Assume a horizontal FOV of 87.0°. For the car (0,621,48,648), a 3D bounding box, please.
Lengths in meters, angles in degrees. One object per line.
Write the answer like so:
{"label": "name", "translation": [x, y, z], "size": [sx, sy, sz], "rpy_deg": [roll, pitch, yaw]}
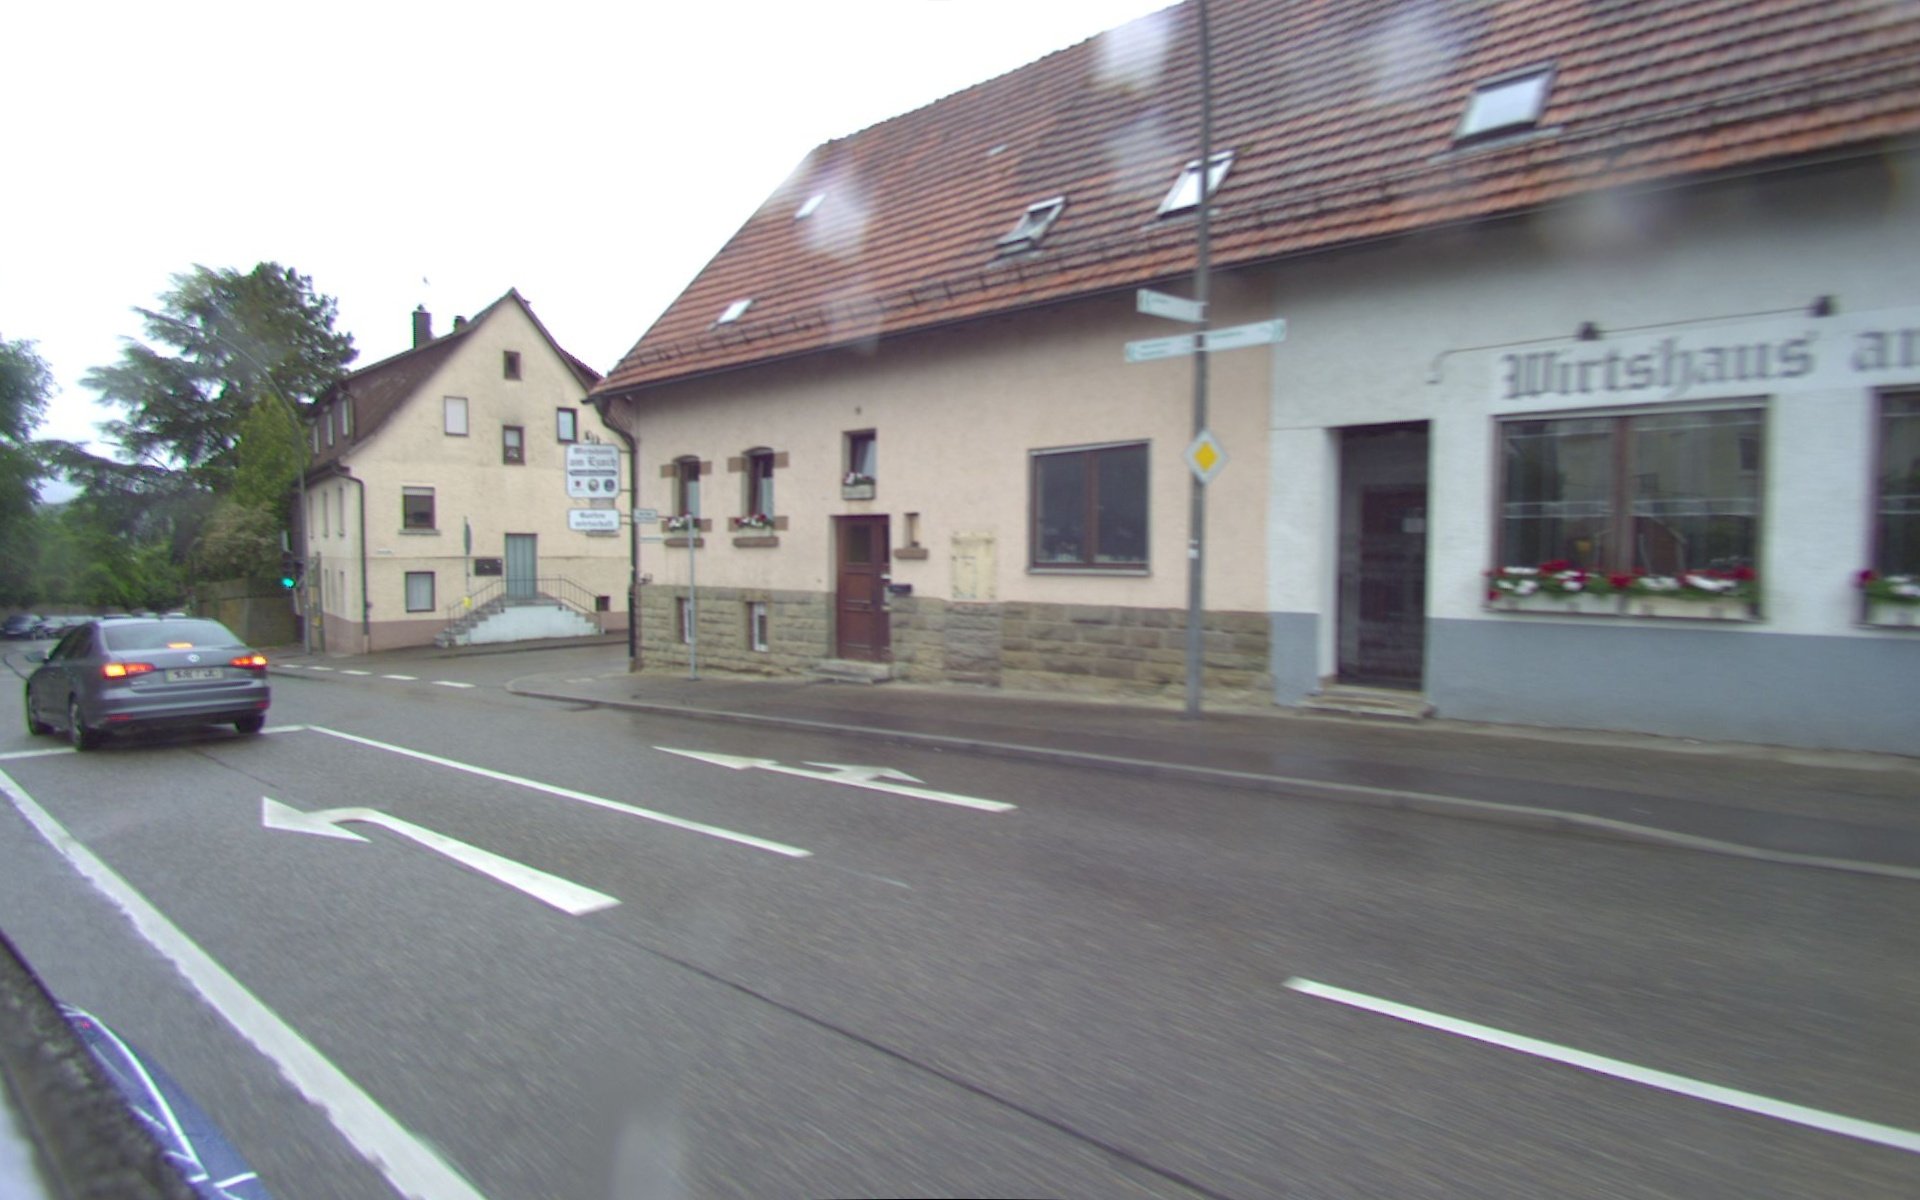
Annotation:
{"label": "car", "translation": [-57.259, 2.095, 61.570], "size": [1.765, 1.544, 3.812], "rpy_deg": [0, -1, -29]}

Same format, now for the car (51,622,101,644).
{"label": "car", "translation": [-62.627, 2.323, 71.757], "size": [1.735, 1.430, 4.166], "rpy_deg": [0, -1, -28]}

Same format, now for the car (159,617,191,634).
{"label": "car", "translation": [-77.593, 2.467, 100.071], "size": [1.803, 1.642, 4.167], "rpy_deg": [0, -1, -27]}

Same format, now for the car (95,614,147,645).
{"label": "car", "translation": [-49.405, 1.701, 59.663], "size": [1.967, 1.719, 4.010], "rpy_deg": [-1, 0, -35]}

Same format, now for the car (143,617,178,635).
{"label": "car", "translation": [-74.620, 2.406, 94.522], "size": [1.803, 1.642, 4.167], "rpy_deg": [0, -1, -27]}

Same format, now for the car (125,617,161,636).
{"label": "car", "translation": [-71.634, 2.292, 88.797], "size": [1.803, 1.642, 4.166], "rpy_deg": [0, -1, -29]}

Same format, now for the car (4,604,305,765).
{"label": "car", "translation": [-9.818, 0.888, 12.232], "size": [4.220, 1.586, 1.925], "rpy_deg": [-1, 0, 38]}

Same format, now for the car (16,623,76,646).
{"label": "car", "translation": [-60.017, 2.247, 66.532], "size": [1.966, 1.430, 4.498], "rpy_deg": [0, -1, -29]}
